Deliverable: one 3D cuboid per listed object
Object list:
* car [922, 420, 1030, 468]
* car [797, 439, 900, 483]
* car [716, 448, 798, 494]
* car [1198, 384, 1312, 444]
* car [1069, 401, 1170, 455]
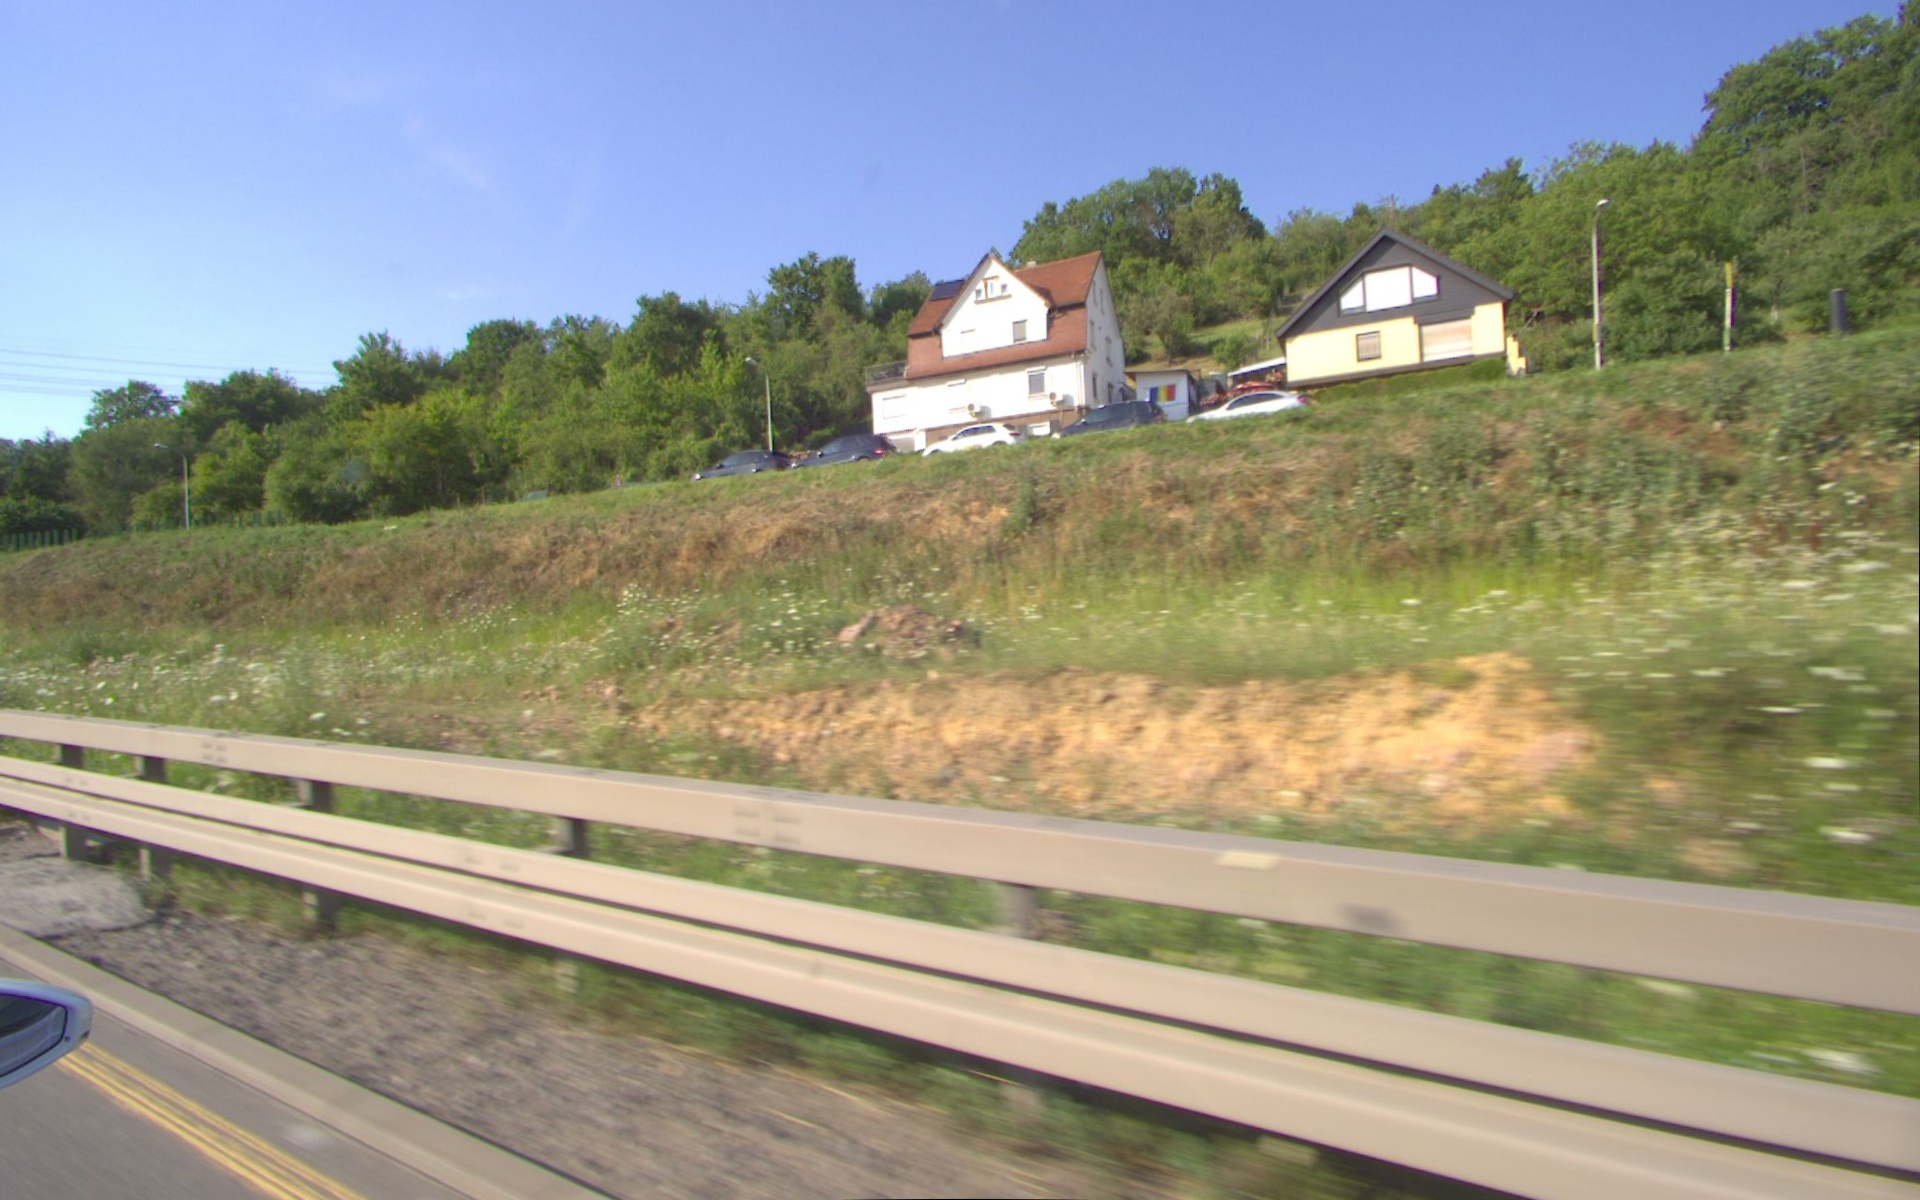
[{"bbox_3d":[0.604,-5.803,37.511,3.836,1.248,1.345,-1,-2,24],"label":"car"},{"bbox_3d":[-4.373,-5.441,39.293,3.833,1.248,1.346,-1,-2,21],"label":"car"},{"bbox_3d":[-8.409,-5.305,41.492,3.179,1.476,1.359,-1,-2,24],"label":"car"},{"bbox_3d":[9.723,-6.085,33.003,3.497,1.389,1.448,-1,-2,22],"label":"car"},{"bbox_3d":[5.568,-5.974,34.968,3.286,1.340,1.346,-1,-2,21],"label":"car"}]
